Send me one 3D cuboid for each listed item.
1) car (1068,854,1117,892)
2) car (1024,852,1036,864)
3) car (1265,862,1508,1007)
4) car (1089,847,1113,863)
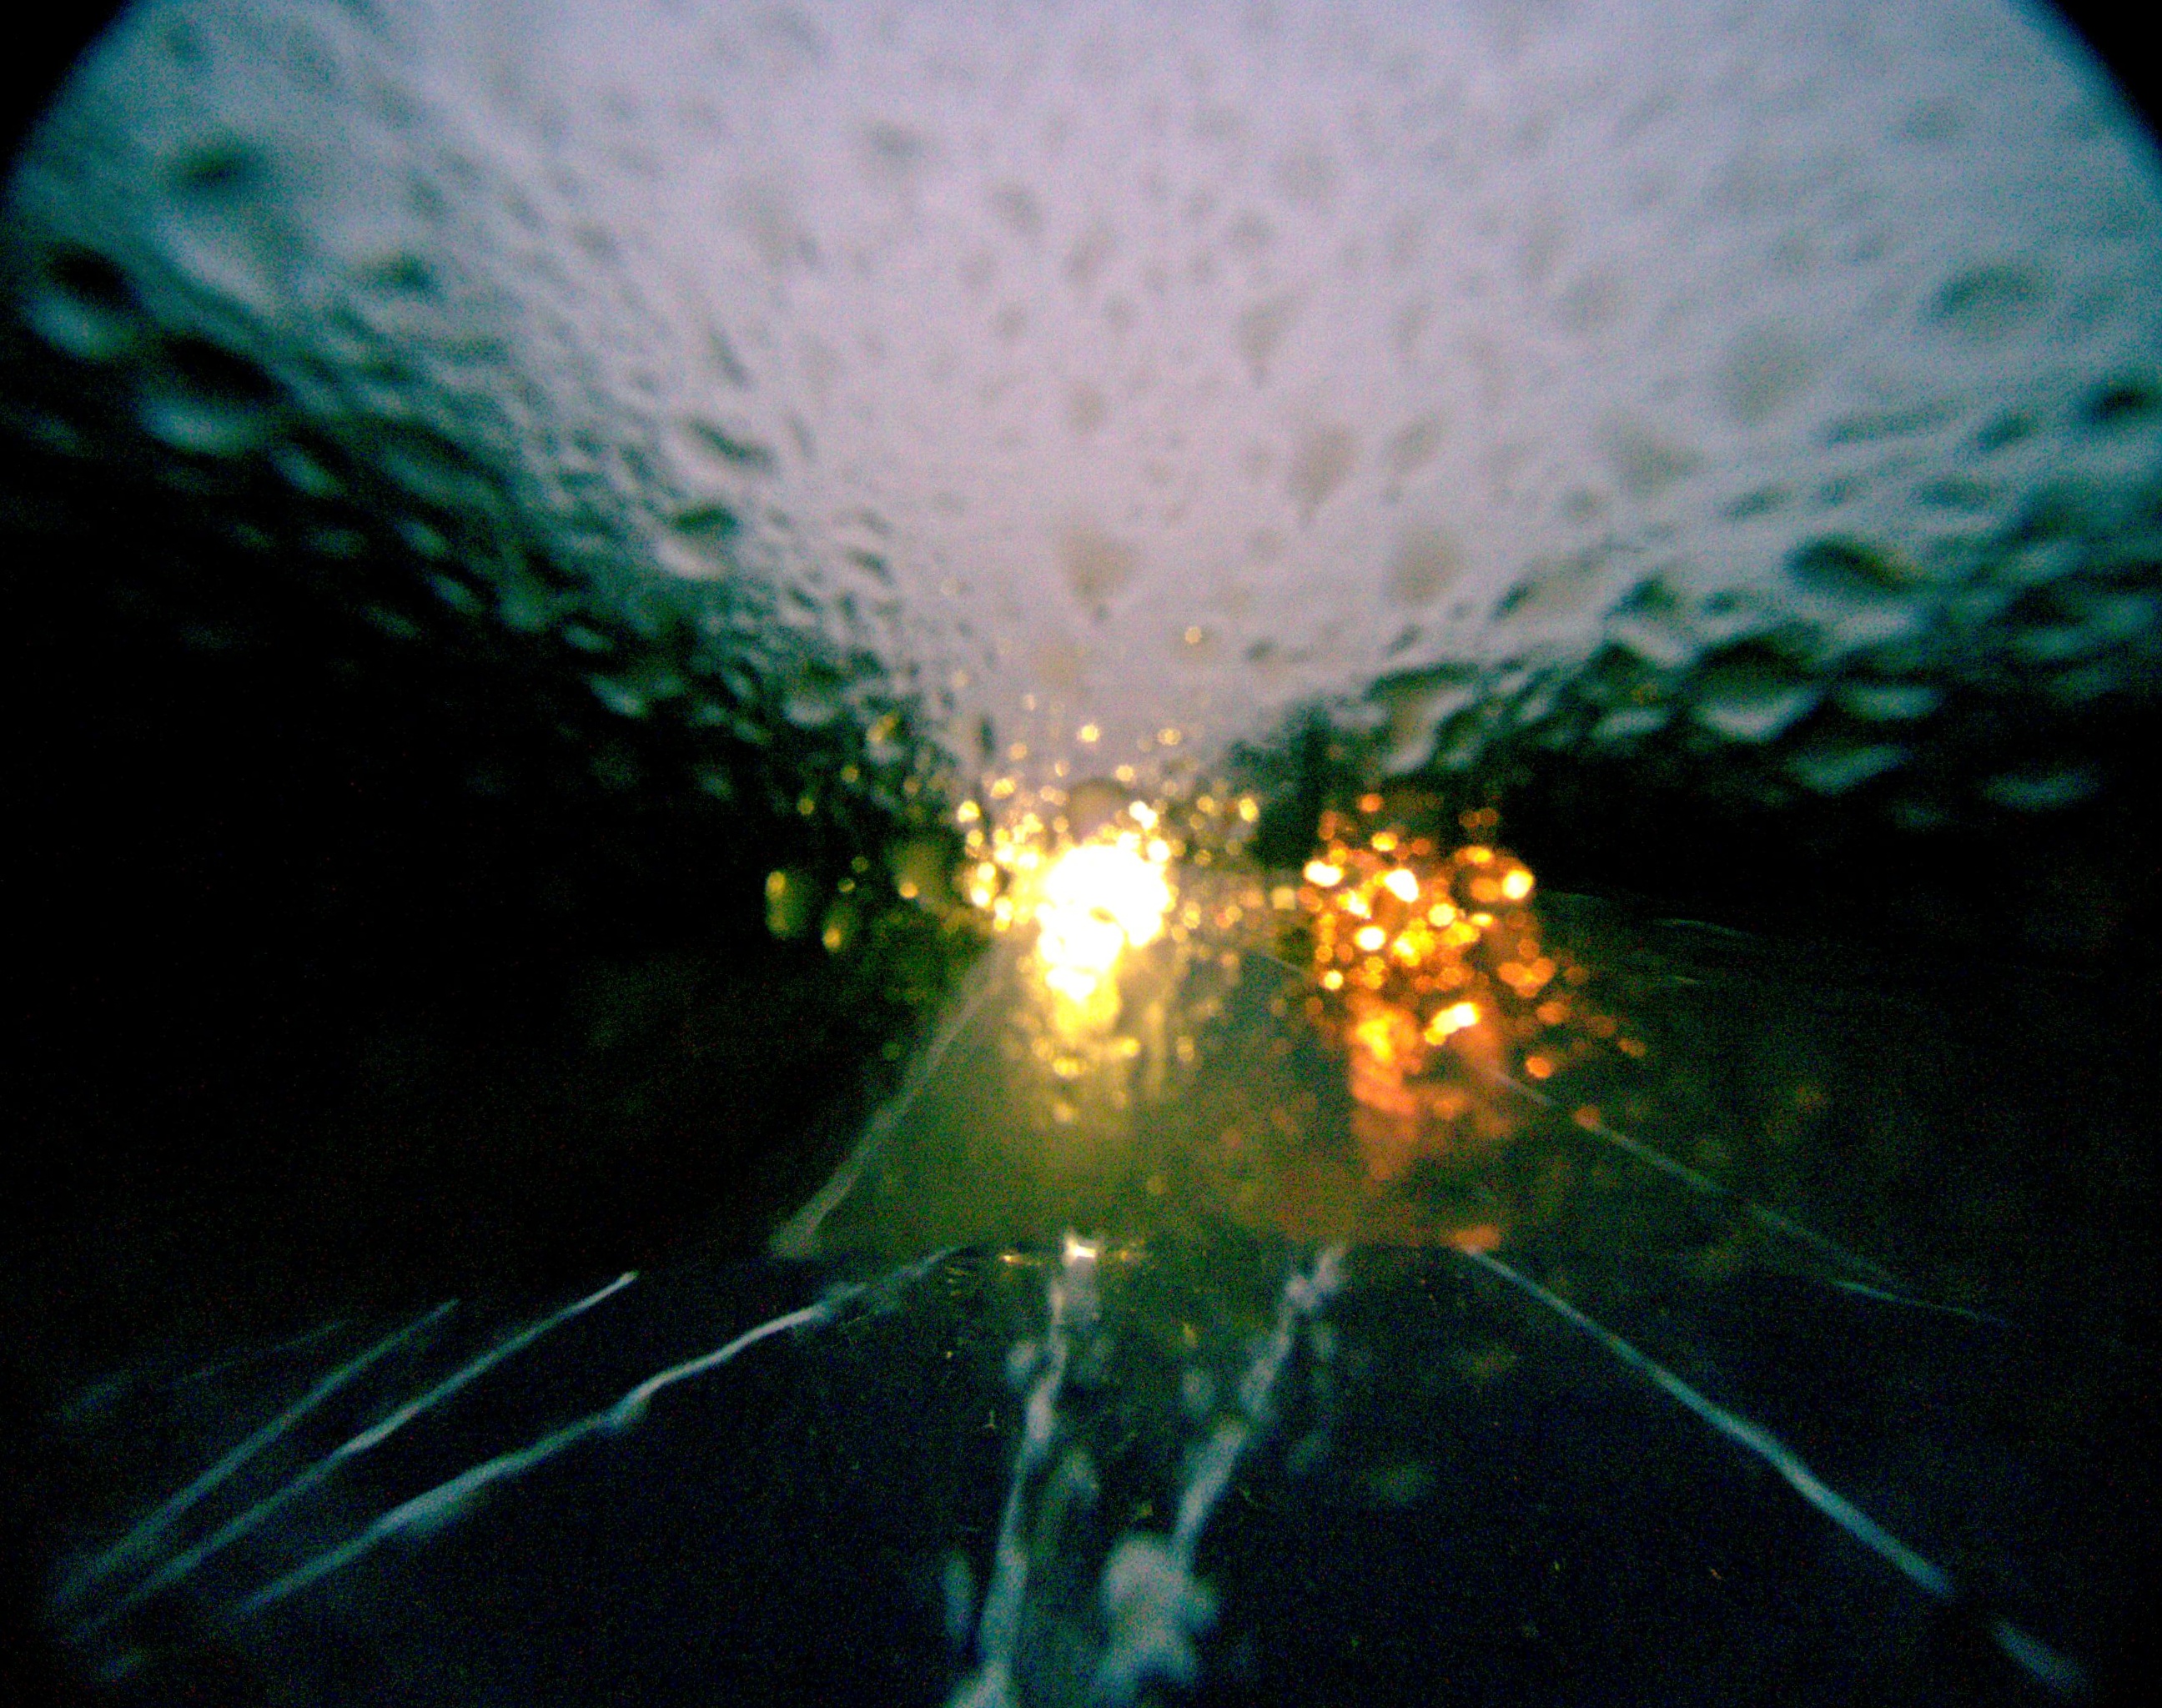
[{"bbox_3d":[0.429,0.770,32.939,1.850,1.429,4.243,-2,1,-2],"label":"car"},{"bbox_3d":[-8.237,0.654,122.455,1.702,1.721,3.997,-3,1,-7],"label":"car"},{"bbox_3d":[3.855,0.905,10.416,1.636,1.413,4.171,-3,1,1],"label":"car"},{"bbox_3d":[2.266,0.105,87.147,2.000,1.639,4.719,-2,1,-6],"label":"car"}]
